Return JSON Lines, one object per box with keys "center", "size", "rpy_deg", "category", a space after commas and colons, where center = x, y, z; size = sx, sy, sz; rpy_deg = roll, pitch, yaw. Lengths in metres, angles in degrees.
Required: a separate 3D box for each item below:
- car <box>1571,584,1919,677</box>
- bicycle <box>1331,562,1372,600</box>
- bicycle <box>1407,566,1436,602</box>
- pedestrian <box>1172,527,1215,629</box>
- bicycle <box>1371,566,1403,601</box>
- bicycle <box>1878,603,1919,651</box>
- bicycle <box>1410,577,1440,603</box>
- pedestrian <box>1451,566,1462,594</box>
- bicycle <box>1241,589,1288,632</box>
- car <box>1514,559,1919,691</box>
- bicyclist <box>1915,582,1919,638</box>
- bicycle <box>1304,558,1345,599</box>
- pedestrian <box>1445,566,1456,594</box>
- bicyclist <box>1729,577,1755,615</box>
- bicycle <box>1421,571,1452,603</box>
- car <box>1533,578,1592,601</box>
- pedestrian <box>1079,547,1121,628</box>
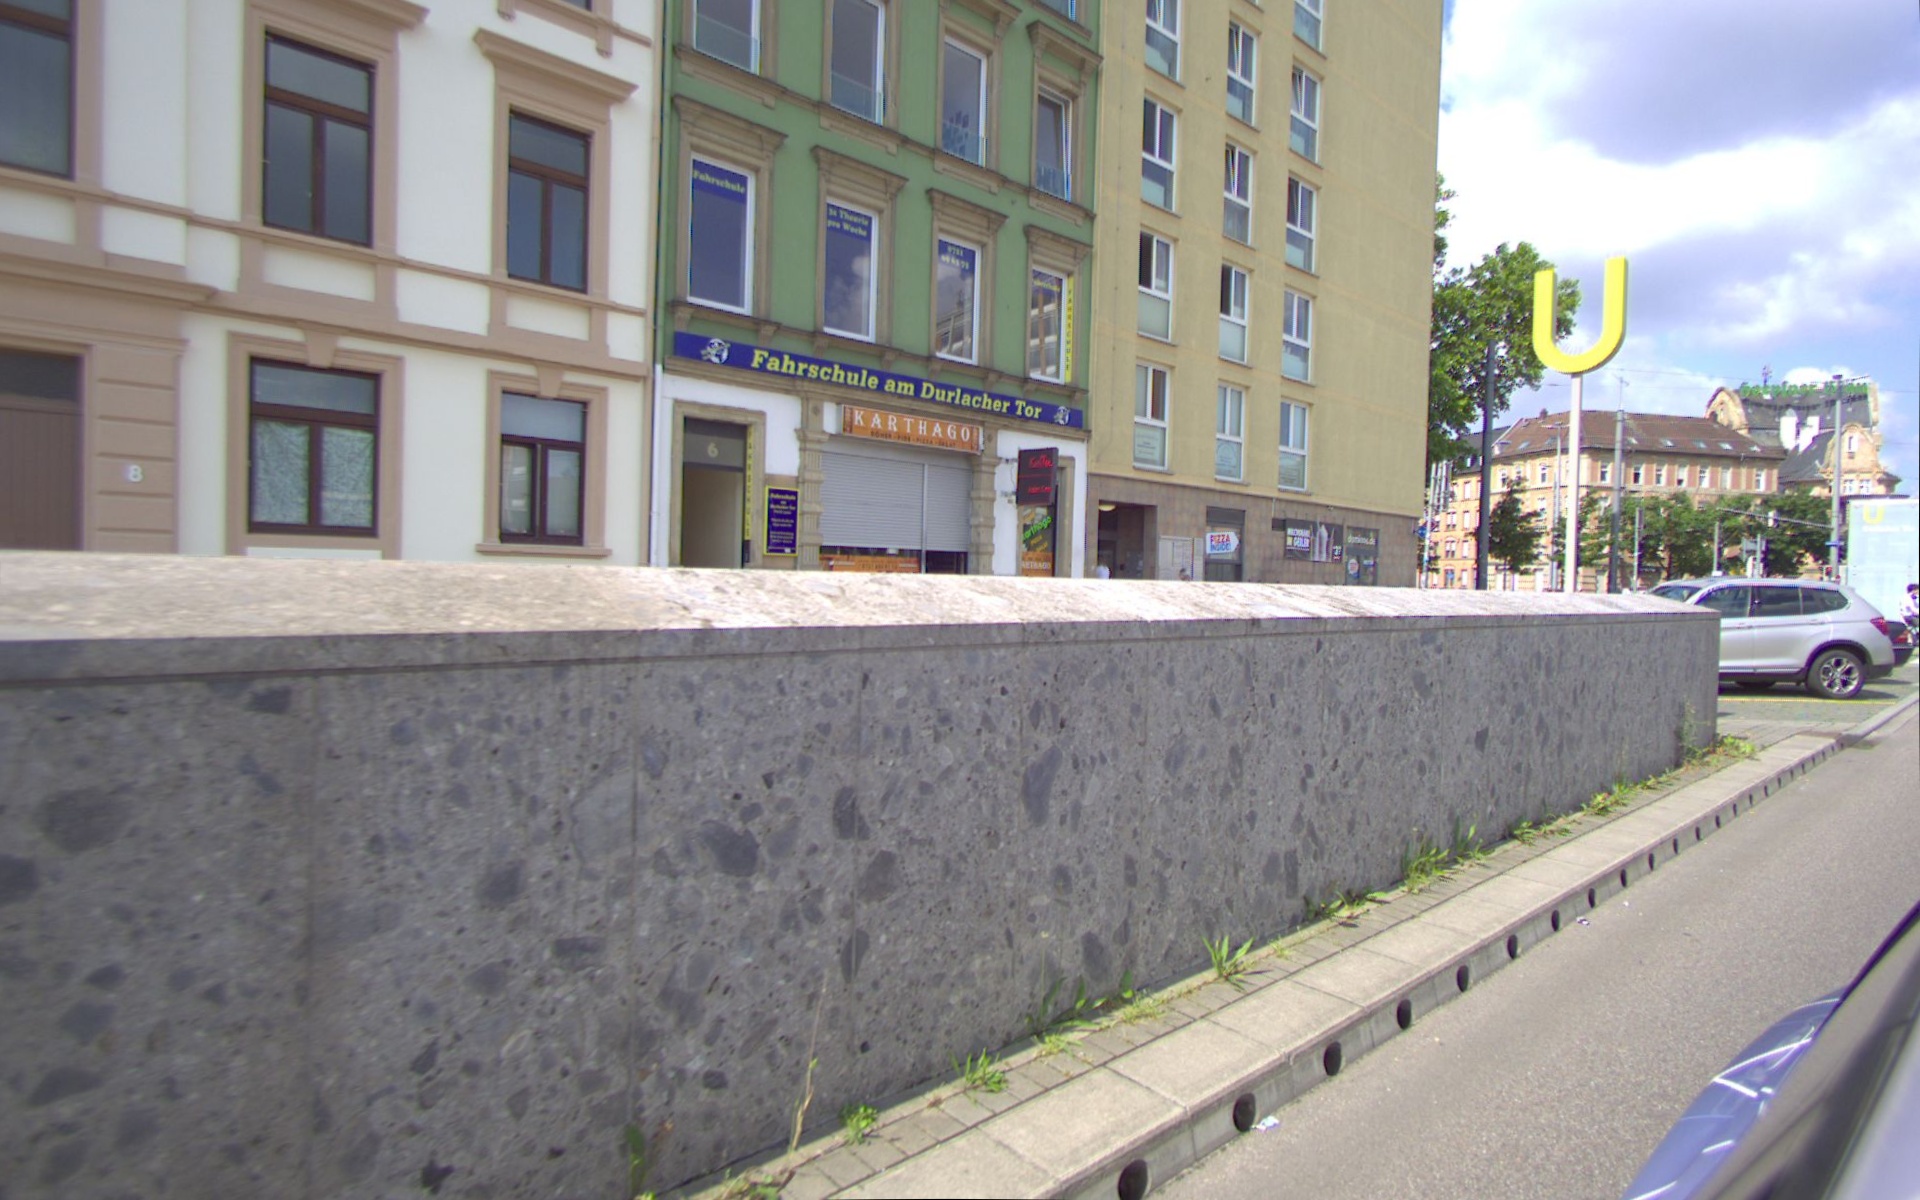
{"center": [13.376, 0.521, 17.334], "size": [4.524, 1.479, 1.933], "rpy_deg": [-1, -1, 10], "category": "car"}
{"center": [9.922, -0.475, 25.628], "size": [1.439, 0.934, 0.293], "rpy_deg": [0, 2, -41], "category": "bicycle"}
{"center": [12.578, -0.433, 27.572], "size": [0.292, 0.934, 1.589], "rpy_deg": [2, 1, 39], "category": "bicycle"}
{"center": [4.747, -0.452, 20.579], "size": [0.452, 2.039, 0.603], "rpy_deg": [3, -1, -41], "category": "pedestrian"}
{"center": [11.674, -0.440, 27.645], "size": [0.292, 0.934, 1.430], "rpy_deg": [3, 2, 43], "category": "bicycle"}
{"center": [23.267, 0.671, 24.034], "size": [0.533, 1.120, 2.104], "rpy_deg": [3, 0, -25], "category": "bicycle"}
{"center": [13.559, -0.289, 29.470], "size": [1.429, 0.747, 0.292], "rpy_deg": [0, 2, -45], "category": "bicycle"}
{"center": [55.963, -2.255, 114.030], "size": [0.713, 3.115, 0.888], "rpy_deg": [3, 0, 0], "category": "pedestrian"}
{"center": [6.791, 0.231, 22.535], "size": [1.440, 0.934, 0.292], "rpy_deg": [1, 1, -44], "category": "bicycle"}
{"center": [11.009, 0.298, 14.862], "size": [4.517, 1.667, 2.058], "rpy_deg": [2, 2, 7], "category": "car"}
{"center": [23.276, 0.251, 24.012], "size": [0.387, 1.353, 0.785], "rpy_deg": [3, 0, -25], "category": "bicyclist"}
{"center": [8.774, -0.503, 24.331], "size": [1.440, 0.934, 0.292], "rpy_deg": [2, 0, -44], "category": "bicycle"}
{"center": [55.205, -2.270, 113.995], "size": [0.655, 3.160, 0.888], "rpy_deg": [3, 0, 0], "category": "pedestrian"}
{"center": [31.220, -0.167, 40.382], "size": [0.730, 1.455, 0.655], "rpy_deg": [0, 2, -41], "category": "bicyclist"}
{"center": [13.593, -0.369, 28.859], "size": [1.440, 0.894, 0.292], "rpy_deg": [-1, 3, -44], "category": "bicycle"}
{"center": [42.065, -0.705, 70.759], "size": [1.657, 1.488, 3.659], "rpy_deg": [3, 0, -4], "category": "car"}
{"center": [2.947, -0.266, 21.286], "size": [0.452, 1.638, 0.603], "rpy_deg": [3, 3, -41], "category": "pedestrian"}
